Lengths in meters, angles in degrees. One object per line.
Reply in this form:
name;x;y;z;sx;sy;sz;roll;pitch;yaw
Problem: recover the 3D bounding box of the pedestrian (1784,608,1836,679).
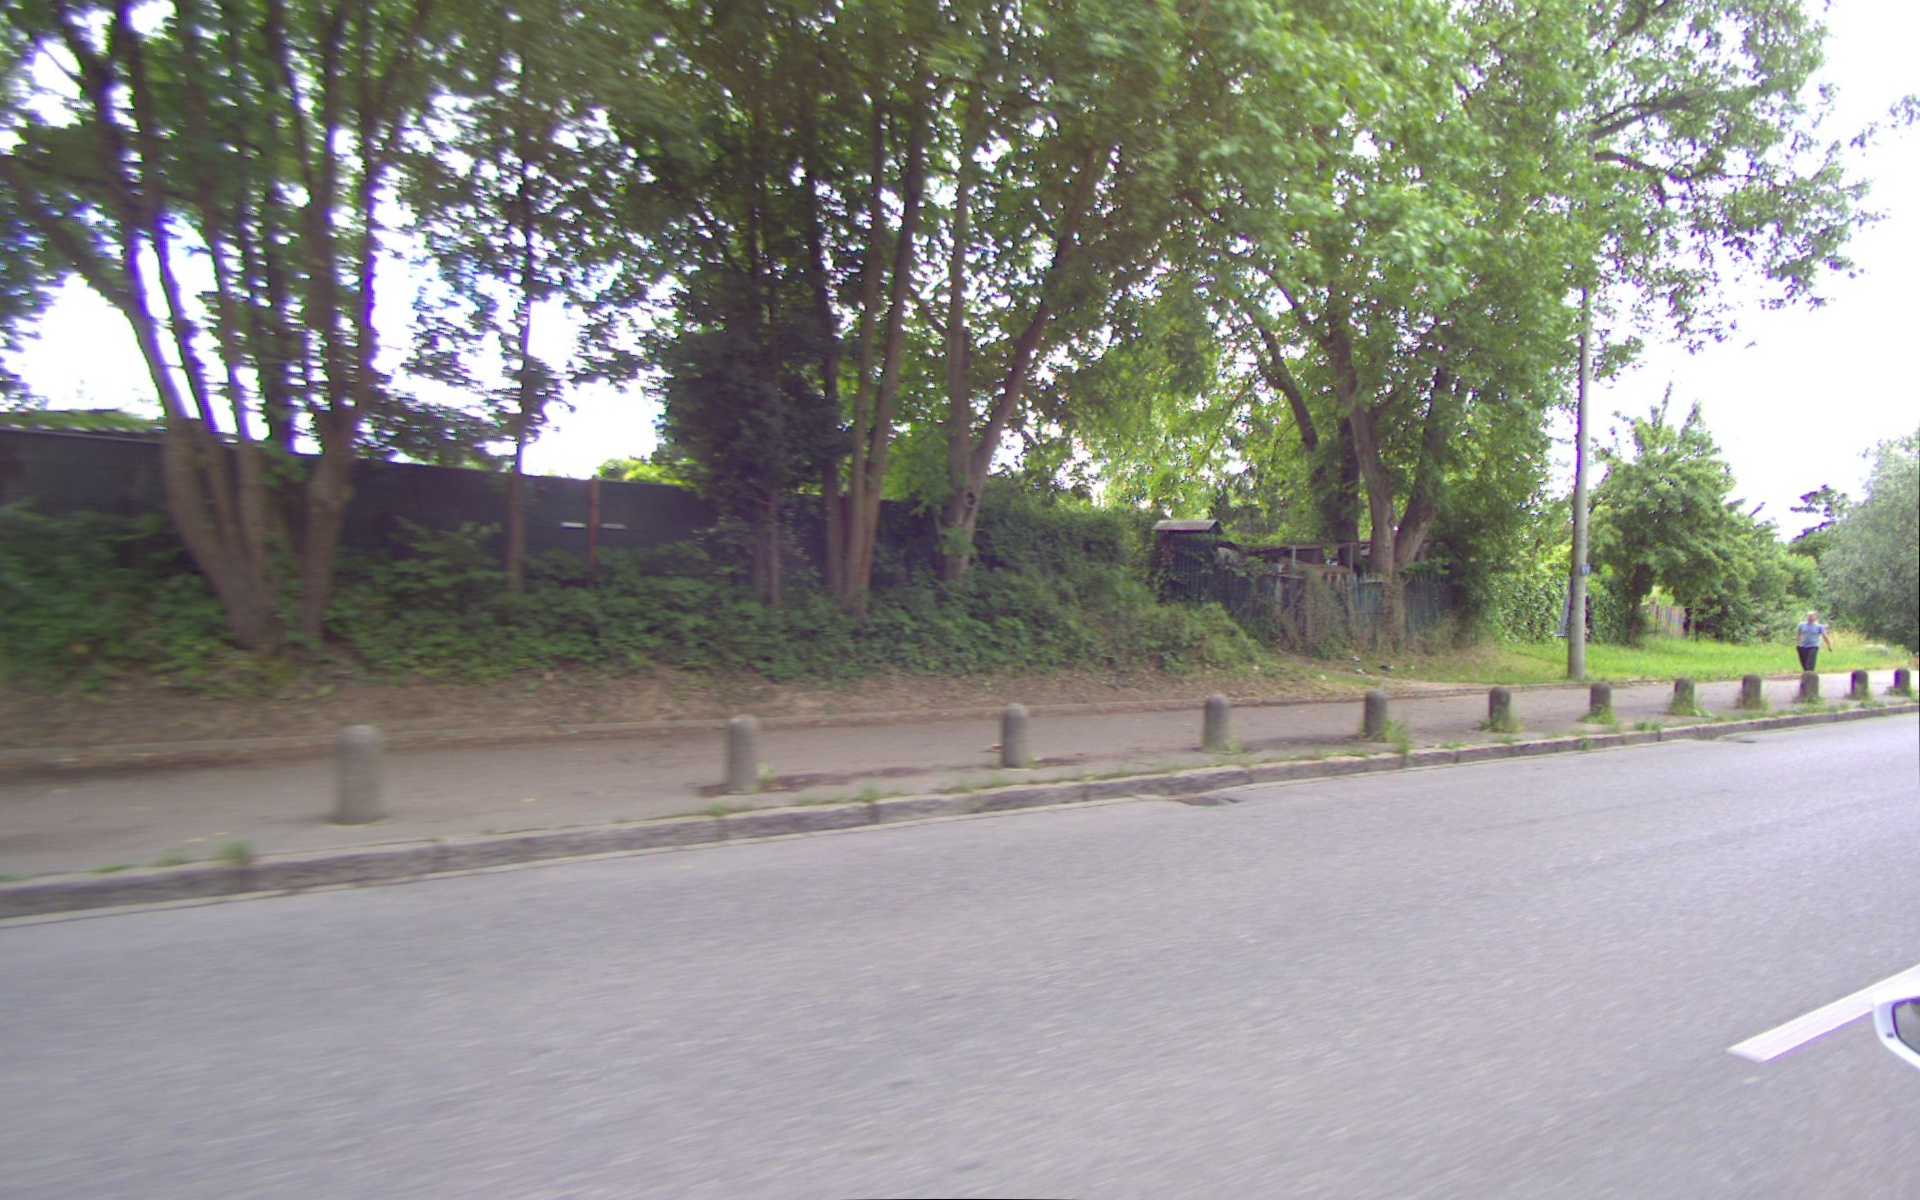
pedestrian;20.622;1.050;24.381;0.829;1.656;0.686;1;2;-32
